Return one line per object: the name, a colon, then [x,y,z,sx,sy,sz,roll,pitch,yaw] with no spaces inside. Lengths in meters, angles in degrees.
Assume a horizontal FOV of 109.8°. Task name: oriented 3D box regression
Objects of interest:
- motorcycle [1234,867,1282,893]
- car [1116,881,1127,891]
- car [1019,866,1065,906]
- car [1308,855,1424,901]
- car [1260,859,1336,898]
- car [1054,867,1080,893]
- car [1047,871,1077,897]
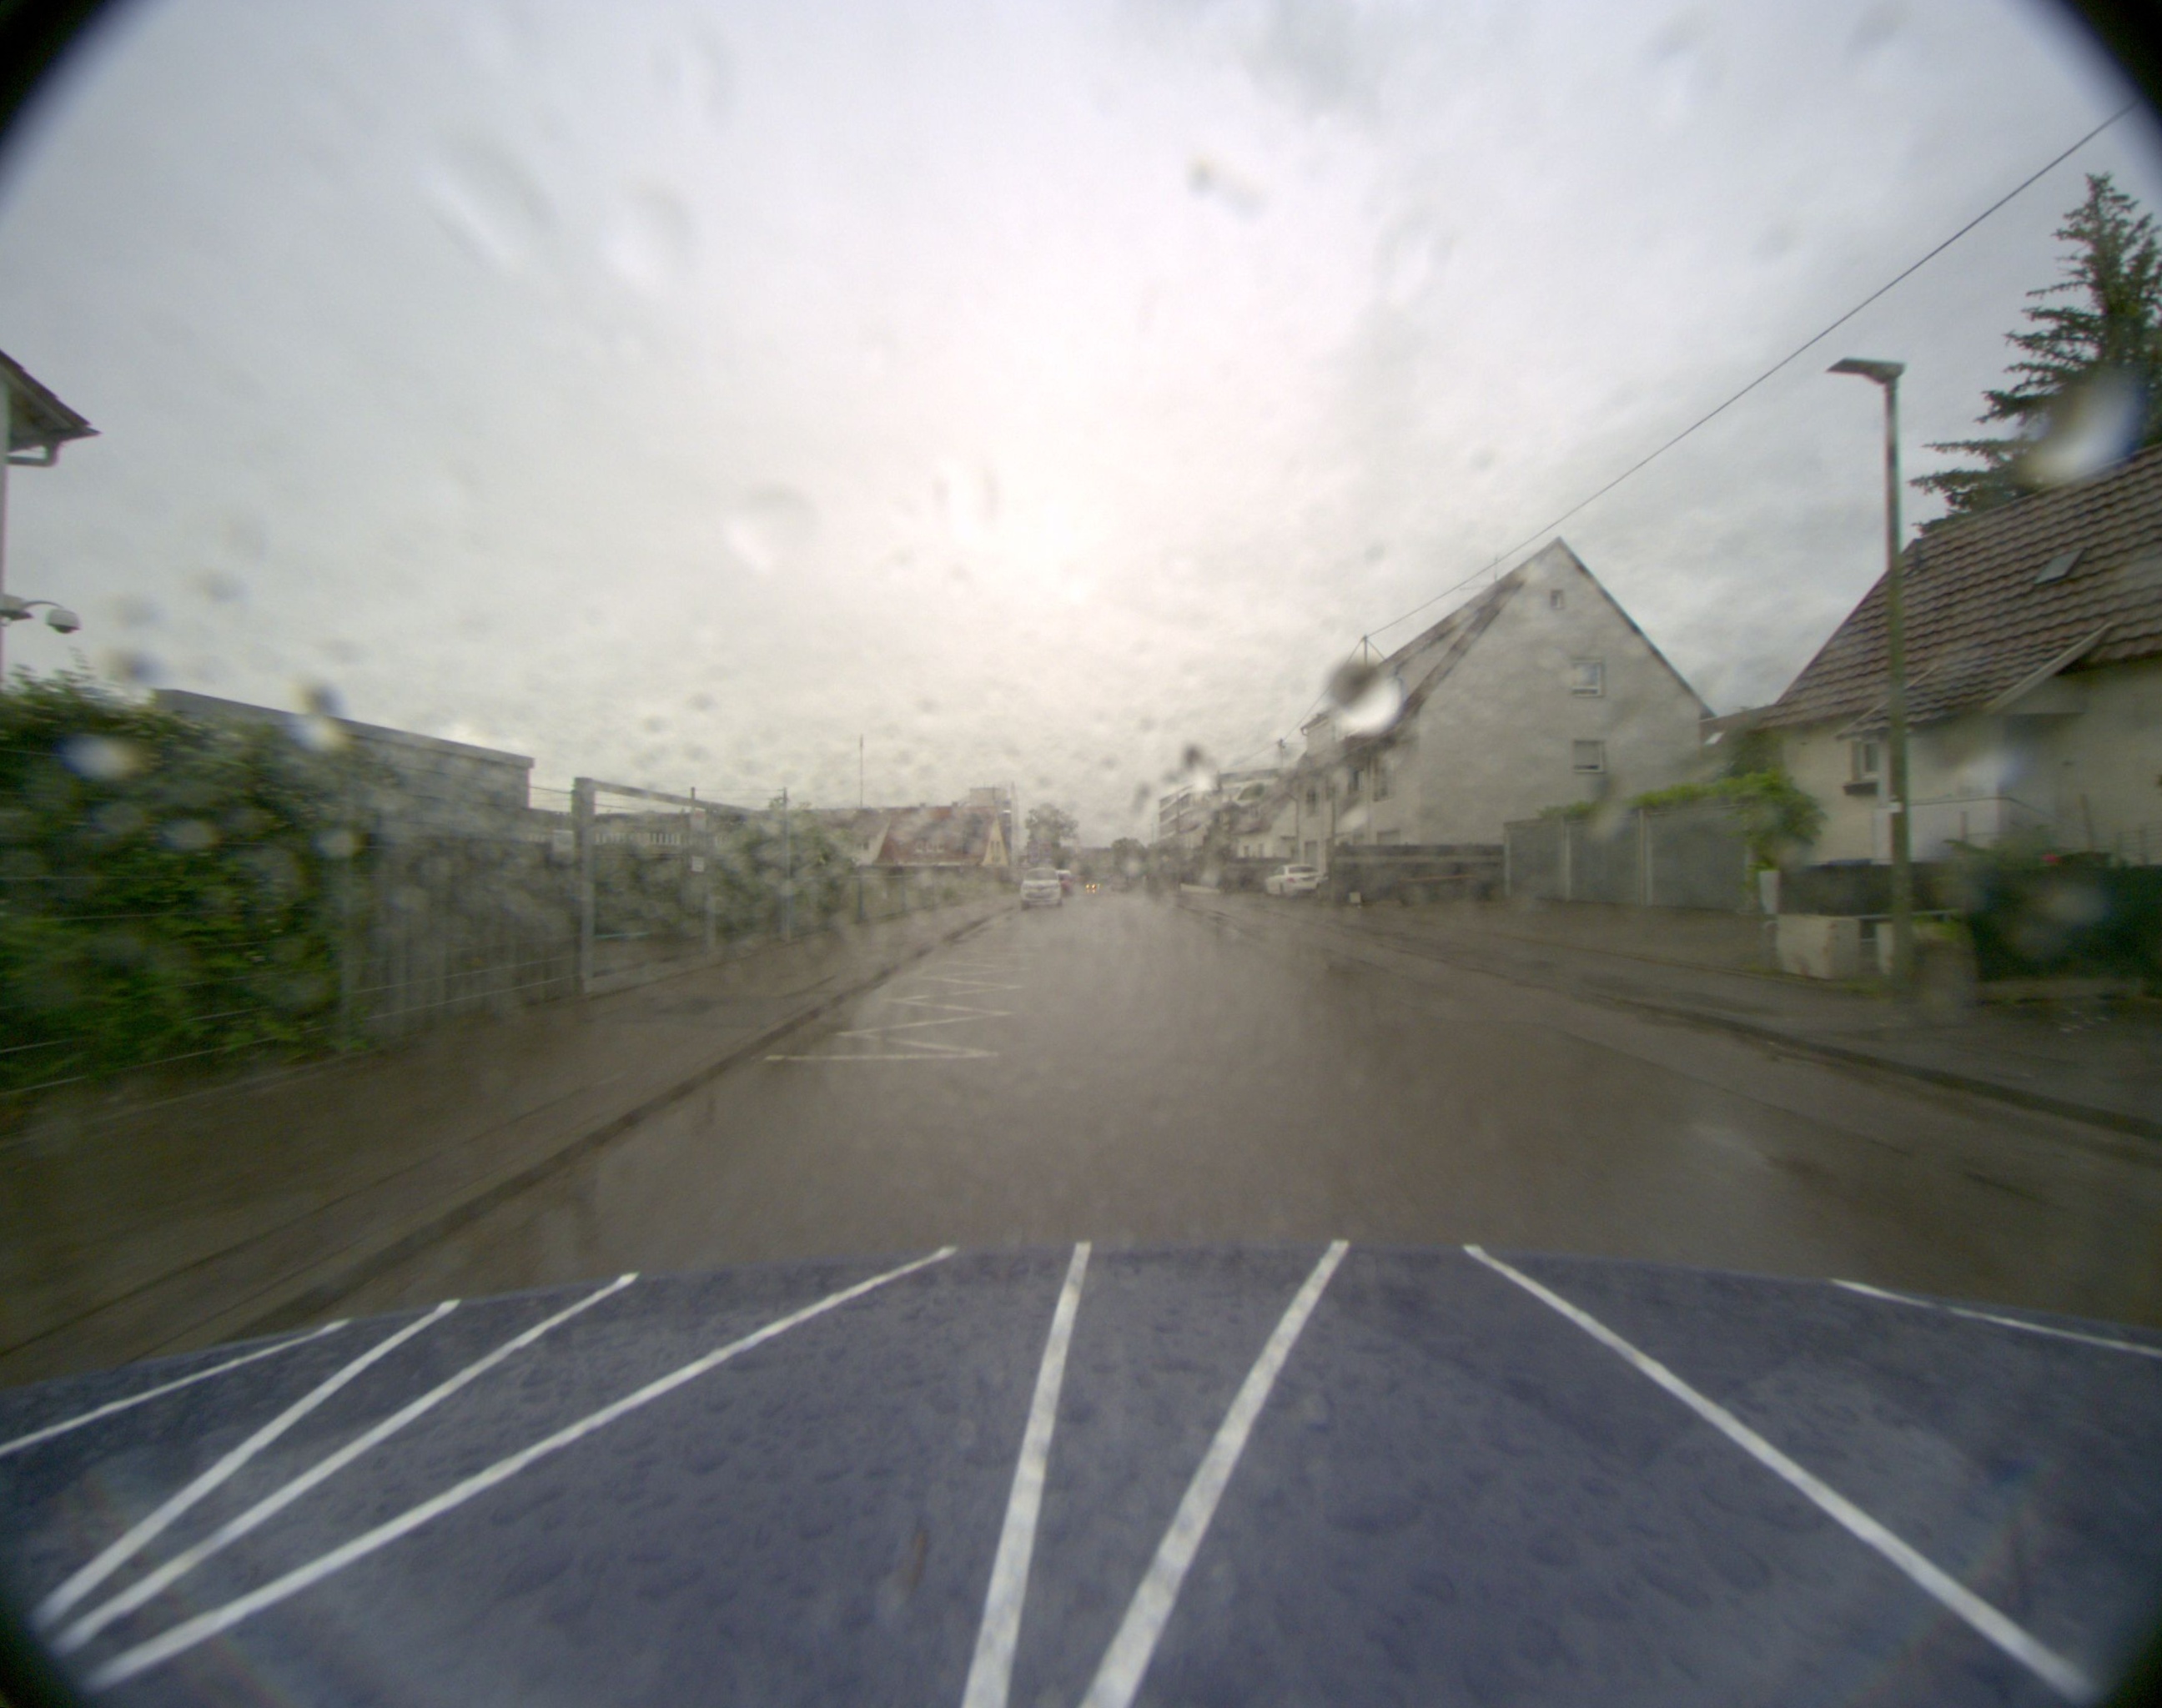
motorcycle: [9.610,1.400,41.292,2.368,1.265,0.736,-3,-1,1]
car: [6.793,5.404,128.235,1.841,1.695,4.326,-1,-2,3]
car: [-1.610,1.332,32.321,1.685,1.548,3.675,-1,-1,0]
car: [9.867,0.851,26.734,1.832,1.360,4.568,-3,-2,-7]
car: [9.653,1.086,34.277,1.998,1.501,4.897,-4,-2,0]
car: [-1.024,1.978,57.517,1.773,1.814,4.576,-1,-2,0]
car: [-1.209,1.928,49.797,1.646,1.565,4.646,-2,-2,2]
